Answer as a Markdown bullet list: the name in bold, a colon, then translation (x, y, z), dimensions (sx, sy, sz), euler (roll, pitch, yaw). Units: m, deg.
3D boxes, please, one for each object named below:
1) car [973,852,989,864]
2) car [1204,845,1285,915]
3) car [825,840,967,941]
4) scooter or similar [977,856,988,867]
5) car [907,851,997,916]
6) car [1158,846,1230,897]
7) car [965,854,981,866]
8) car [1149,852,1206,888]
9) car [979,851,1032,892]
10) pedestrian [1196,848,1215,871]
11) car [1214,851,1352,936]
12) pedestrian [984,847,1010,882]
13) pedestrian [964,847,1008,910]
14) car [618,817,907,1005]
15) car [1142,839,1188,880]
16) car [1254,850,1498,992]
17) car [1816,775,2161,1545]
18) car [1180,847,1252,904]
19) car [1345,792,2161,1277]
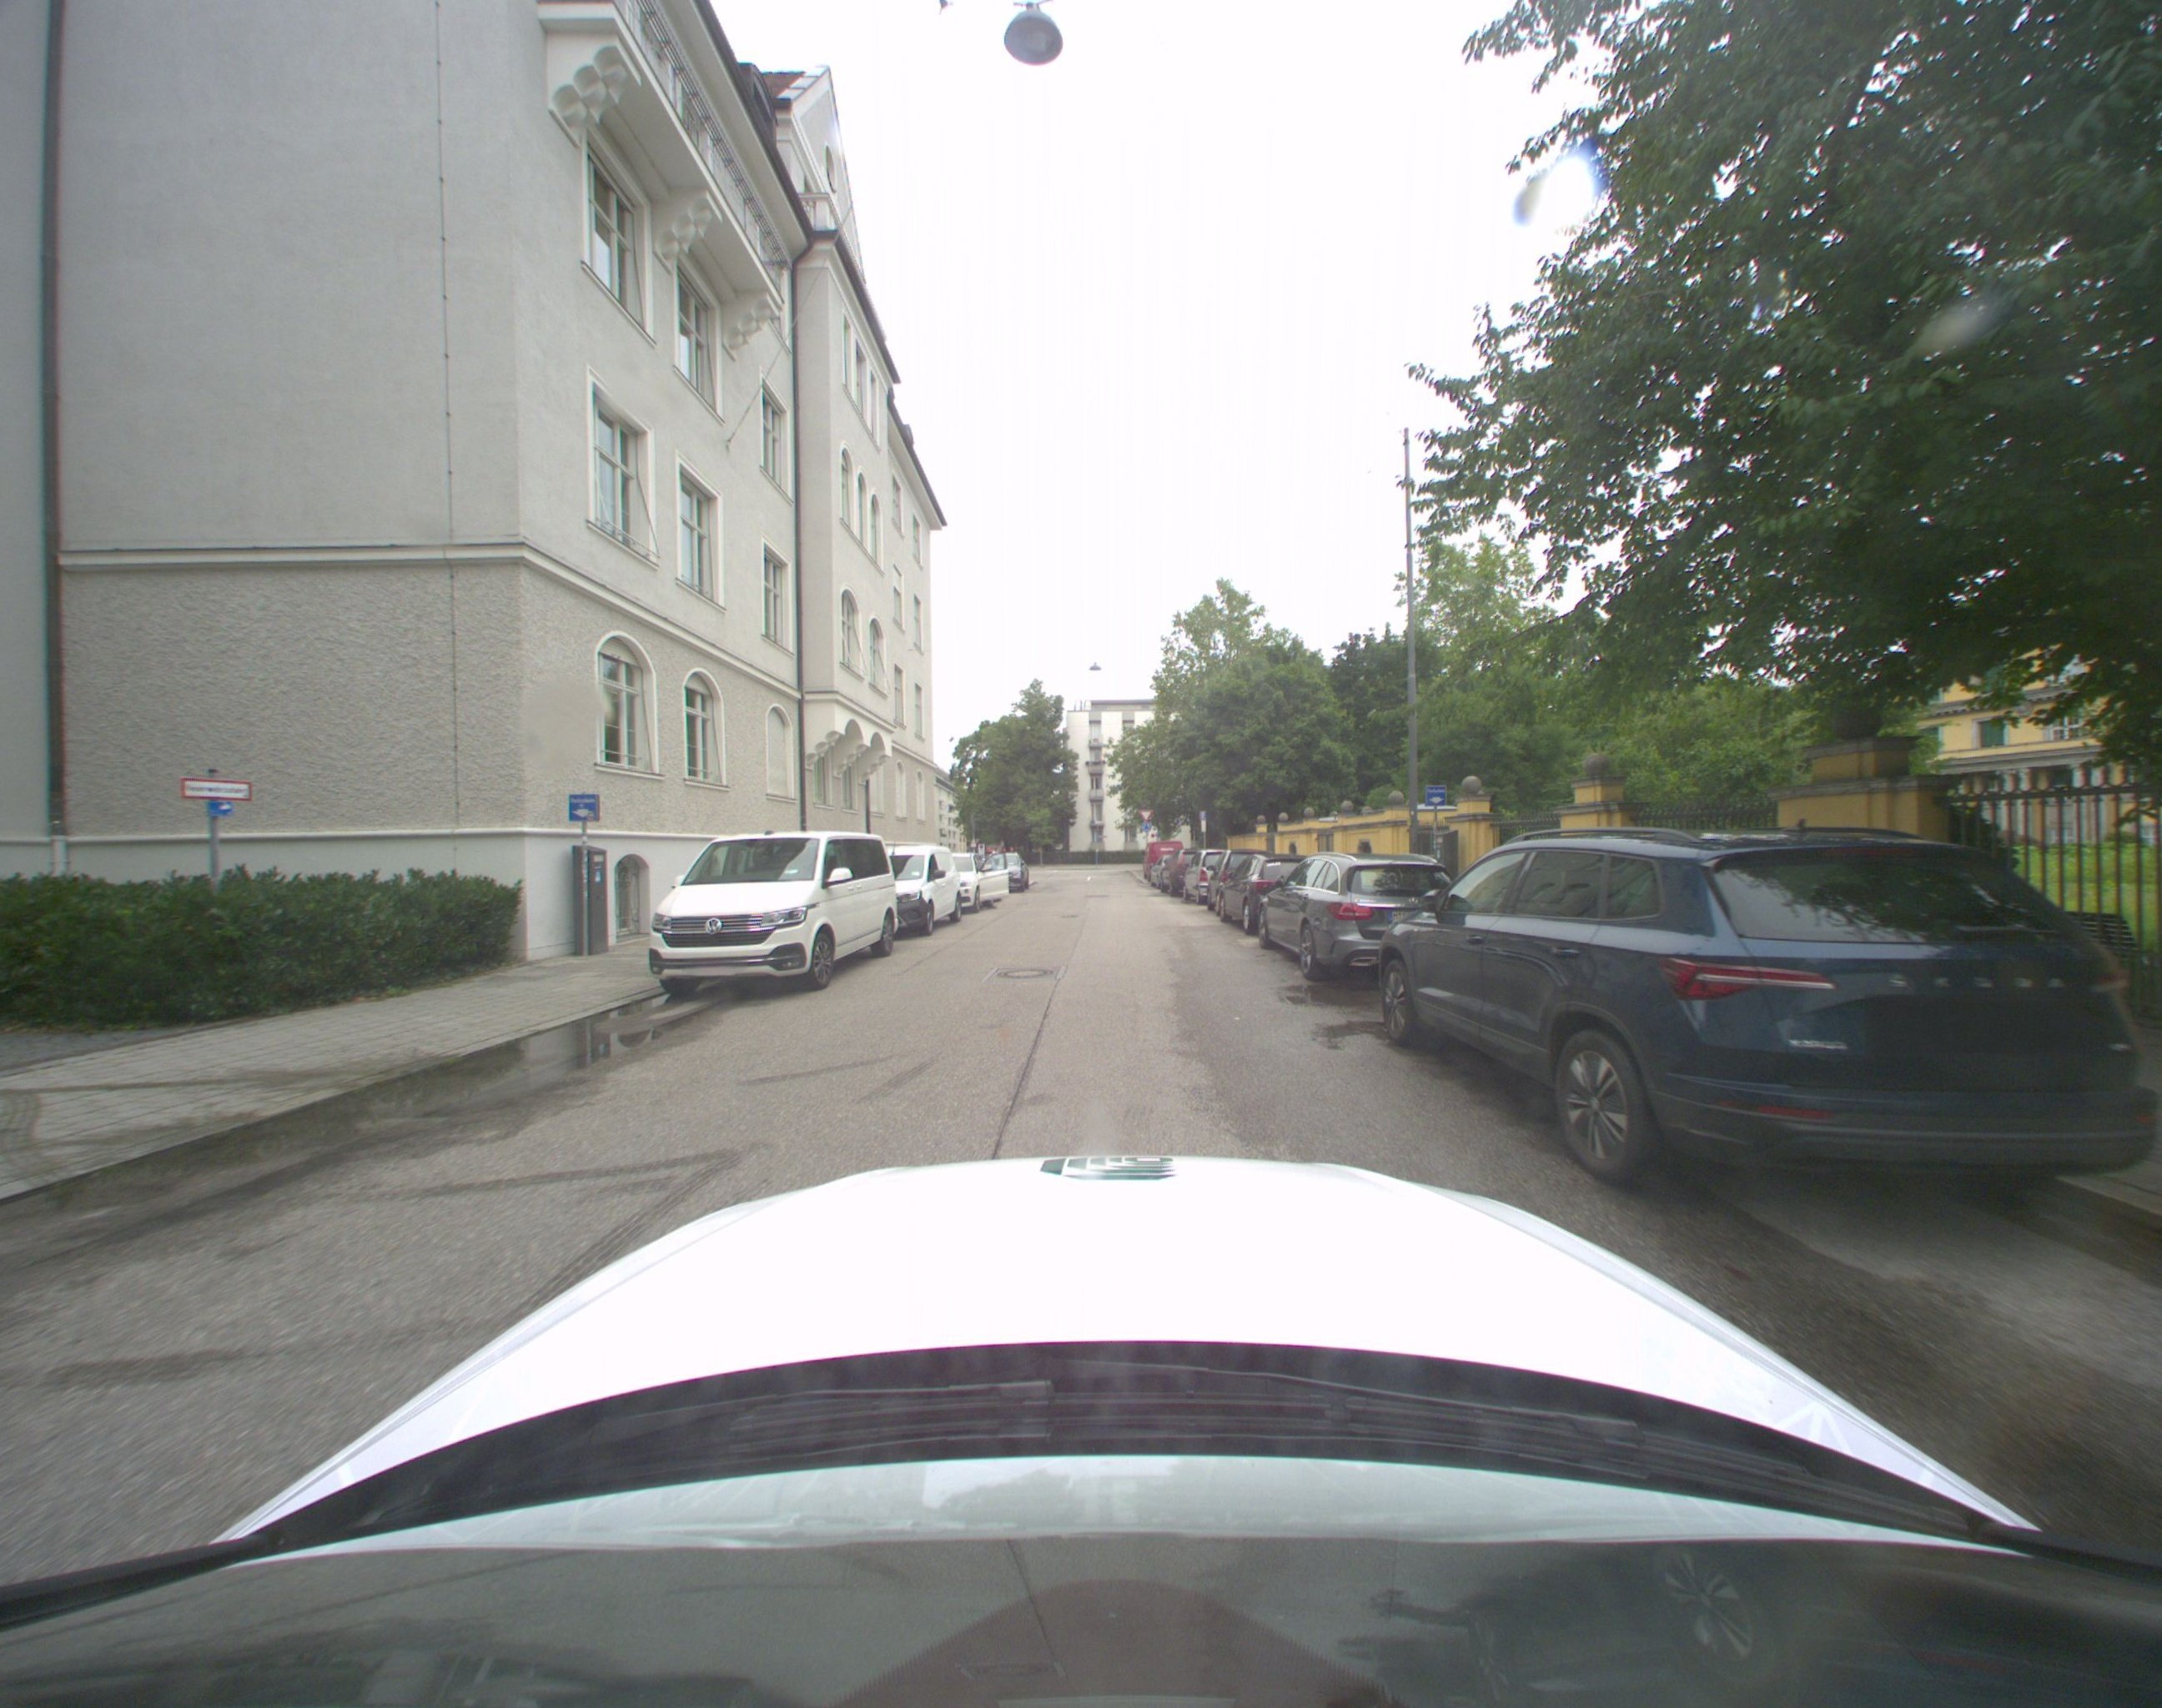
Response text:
- **car**: translation (-14.695, 0.557, 119.904), dimensions (1.829, 1.634, 3.820), euler (-2, 0, 0)
- **car**: translation (3.912, 0.579, 19.858), dimensions (1.502, 1.566, 2.871), euler (1, 0, 3)
- **car**: translation (-3.752, 0.659, 17.478), dimensions (1.740, 1.788, 5.038), euler (-2, 0, 1)
- **scooter or similar**: translation (-9.757, 0.750, 80.413), dimensions (1.005, 1.088, 0.387), euler (-1, 0, -30)
- **car**: translation (-3.544, 0.755, 23.174), dimensions (1.741, 1.602, 4.496), euler (-2, 0, 0)
- **car**: translation (3.933, 0.575, 29.173), dimensions (1.878, 1.653, 4.822), euler (1, 0, -1)
- **car**: translation (-14.493, 0.727, 109.464), dimensions (1.832, 1.505, 4.107), euler (-2, 0, -5)
- **car**: translation (4.109, 0.651, 35.271), dimensions (1.879, 1.448, 4.366), euler (1, 0, -1)
- **car**: translation (-3.176, 0.703, 35.030), dimensions (1.741, 1.602, 4.496), euler (-2, 0, 0)
- **pedestrian**: translation (7.334, 0.322, 48.013), dimensions (1.005, 1.338, 0.878), euler (-1, 0, 4)
- **car**: translation (3.739, 0.660, 15.745), dimensions (1.686, 1.414, 4.036), euler (1, 0, 0)
- **pedestrian**: translation (-4.400, 0.552, 42.852), dimensions (1.055, 1.771, 0.868), euler (-1, 0, -32)
- **pedestrian**: translation (-2.736, 0.675, 23.444), dimensions (0.967, 1.755, 0.868), euler (-1, 0, -29)
- **car**: translation (-3.940, 0.608, 11.202), dimensions (1.849, 1.938, 4.958), euler (-2, 0, 1)
- **car**: translation (4.138, 0.245, 41.005), dimensions (1.867, 1.920, 4.888), euler (0, 0, 1)
- **car**: translation (3.481, 0.678, 10.559), dimensions (1.685, 1.414, 4.519), euler (-1, 0, 2)
- **car**: translation (2.993, 0.609, 0.256), dimensions (1.706, 1.570, 4.322), euler (-1, 0, 2)
- **car**: translation (3.947, 0.582, 24.290), dimensions (1.480, 1.539, 3.691), euler (1, 0, -1)
- **car**: translation (3.193, 0.586, 5.033), dimensions (1.706, 1.570, 4.693), euler (-1, 0, 2)
